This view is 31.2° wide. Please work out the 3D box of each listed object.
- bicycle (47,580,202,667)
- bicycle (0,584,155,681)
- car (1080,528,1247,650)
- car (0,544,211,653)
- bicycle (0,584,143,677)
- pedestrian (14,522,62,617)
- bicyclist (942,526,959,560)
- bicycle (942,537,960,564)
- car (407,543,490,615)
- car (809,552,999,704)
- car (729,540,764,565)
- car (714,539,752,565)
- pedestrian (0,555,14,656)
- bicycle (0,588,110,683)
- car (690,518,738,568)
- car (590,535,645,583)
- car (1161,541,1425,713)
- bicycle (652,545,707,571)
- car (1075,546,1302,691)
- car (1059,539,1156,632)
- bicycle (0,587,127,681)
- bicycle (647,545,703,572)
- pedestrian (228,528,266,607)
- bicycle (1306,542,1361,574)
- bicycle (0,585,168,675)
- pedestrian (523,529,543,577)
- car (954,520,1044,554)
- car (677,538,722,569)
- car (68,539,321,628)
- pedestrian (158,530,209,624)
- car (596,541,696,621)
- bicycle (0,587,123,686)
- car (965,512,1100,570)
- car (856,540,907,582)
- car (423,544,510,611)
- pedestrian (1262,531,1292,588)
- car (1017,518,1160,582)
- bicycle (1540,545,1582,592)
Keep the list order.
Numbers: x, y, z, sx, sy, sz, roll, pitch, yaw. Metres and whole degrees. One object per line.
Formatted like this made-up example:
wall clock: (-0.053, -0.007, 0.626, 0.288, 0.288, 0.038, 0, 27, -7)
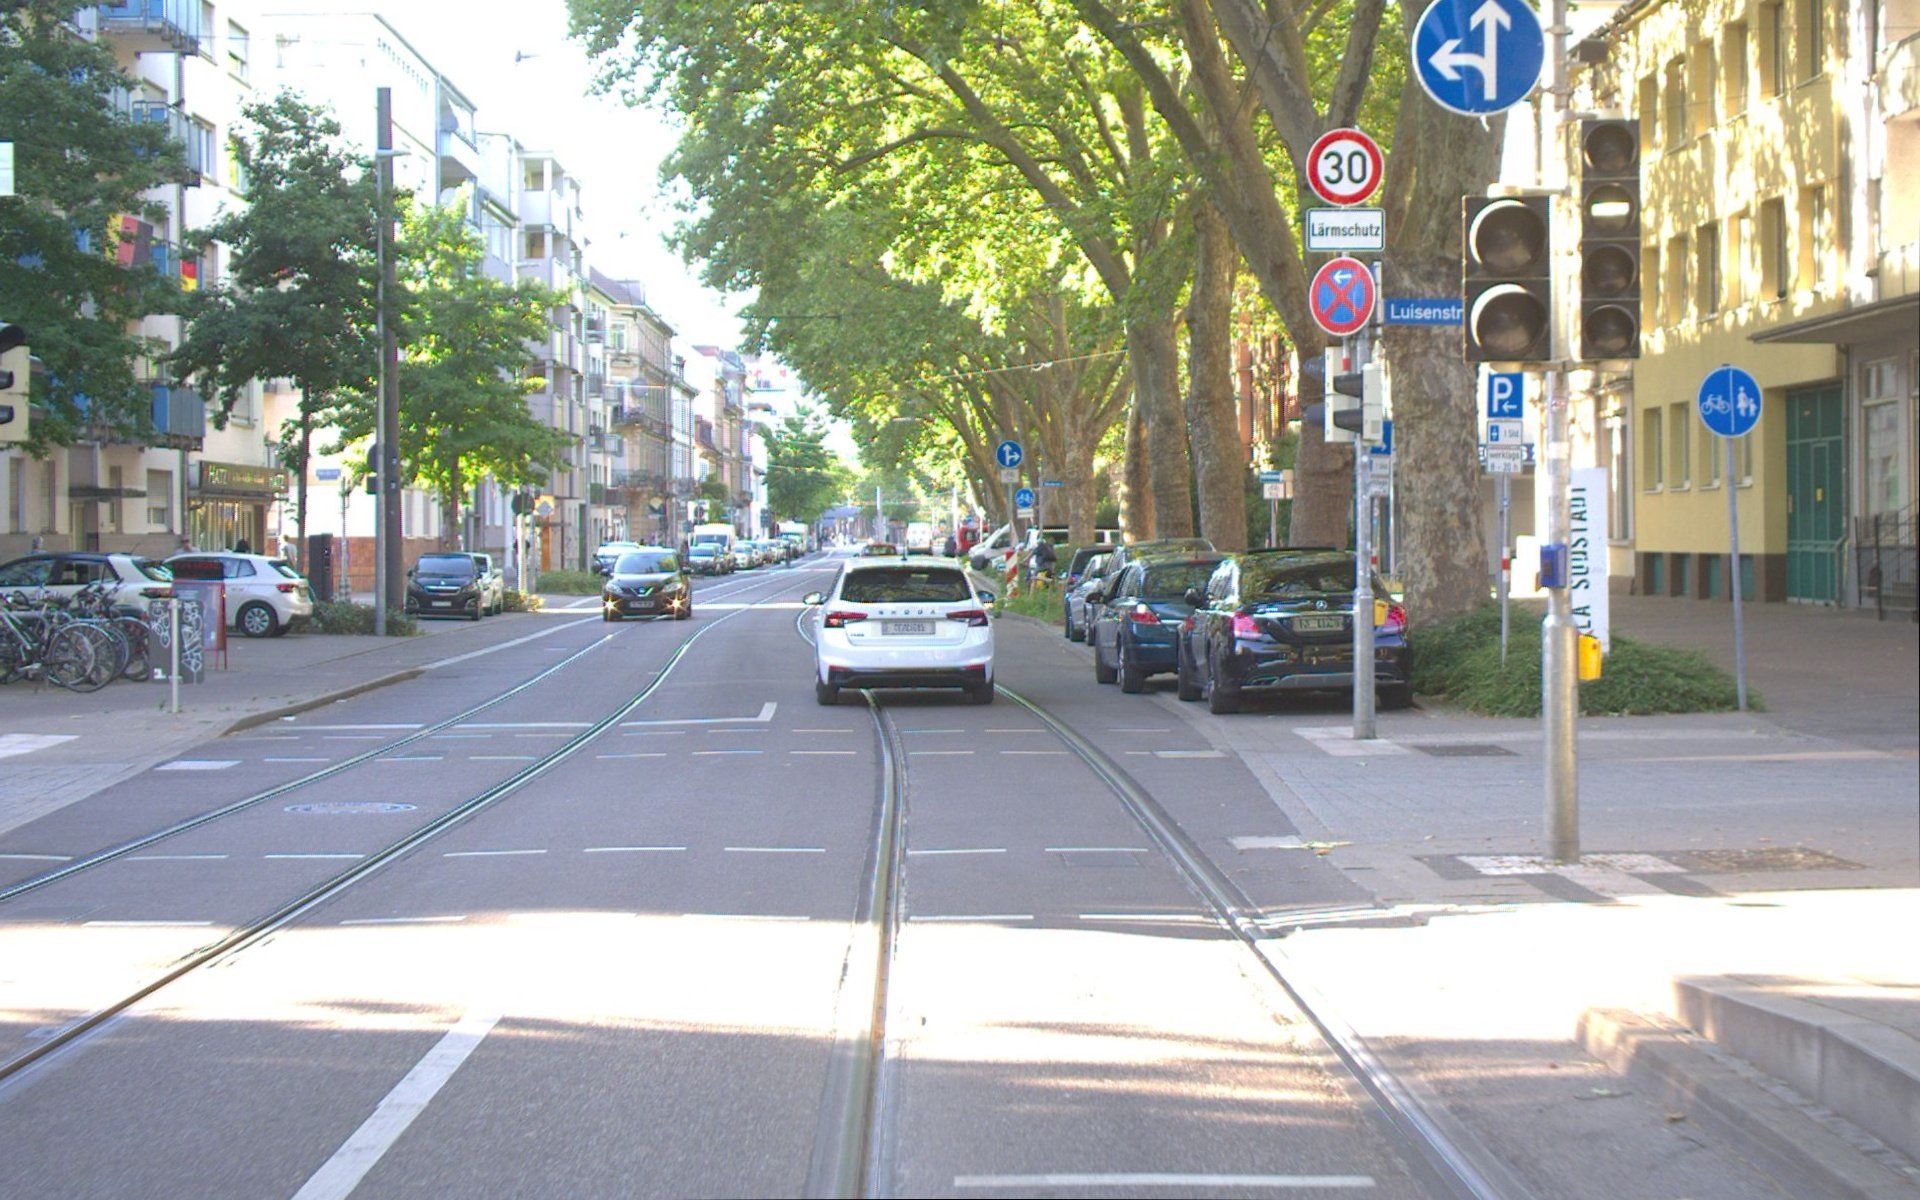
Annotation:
bicycle: (-9.876, 0.278, 40.677, 1.690, 1.003, 0.658, 1, 0, -5)
bicycle: (-9.999, 0.360, 38.511, 1.829, 1.060, 0.658, 1, 0, -5)
car: (2.840, -0.156, 48.892, 1.857, 1.598, 4.782, -2, 0, -2)
car: (-12.680, -0.036, 48.027, 4.012, 1.470, 1.852, 1, 0, 0)
bicycle: (-10.056, 0.330, 38.190, 1.829, 1.003, 0.658, 1, 0, -5)
pedestrian: (-16.383, -0.544, 61.121, 0.663, 1.685, 0.749, 0, 1, -2)
bicyclist: (-0.394, -2.311, 138.924, 0.649, 1.339, 0.934, -1, 1, -3)
bicycle: (-0.385, -1.997, 138.917, 0.649, 1.067, 1.583, -1, 1, -3)
car: (-11.298, -0.480, 76.105, 1.713, 1.459, 4.001, 3, 1, -8)
car: (-0.592, 0.231, 34.141, 1.761, 1.379, 4.001, -1, 1, -2)
car: (-13.439, -2.981, 216.249, 1.993, 1.525, 4.000, 0, 1, -1)
car: (-13.353, -2.840, 202.286, 1.993, 1.525, 4.000, 0, 1, -1)
pedestrian: (-12.683, 0.069, 44.676, 0.712, 1.293, 0.748, -1, 1, -15)
bicycle: (-10.164, 0.377, 37.102, 1.829, 1.003, 0.658, 1, 0, -5)
car: (-13.000, -3.009, 181.952, 2.178, 2.588, 4.949, 0, 1, -1)
car: (-12.459, -1.508, 125.328, 1.702, 1.645, 4.242, 2, 1, -2)
car: (3.005, 0.189, 31.970, 1.764, 1.457, 5.013, 0, 1, -2)
bicycle: (-13.288, -1.993, 162.866, 2.524, 1.168, 0.719, 2, -1, -6)
car: (2.417, 0.151, 37.328, 1.864, 1.432, 4.227, -1, 1, -4)
car: (2.501, -0.250, 58.833, 1.564, 1.514, 2.910, -2, 0, 1)
bicycle: (-10.079, 0.368, 37.544, 1.829, 1.003, 0.658, 1, 0, -5)
bicycle: (-13.198, -1.930, 159.088, 2.524, 1.168, 0.719, 2, -1, -7)
pedestrian: (-15.308, -0.697, 73.833, 0.663, 1.685, 0.749, 0, 1, -2)
bicycle: (13.127, -1.478, 120.929, 1.791, 1.038, 0.618, -2, 1, -4)
bicycle: (-10.034, 0.339, 39.327, 1.829, 1.003, 0.658, 1, 0, -5)
pedestrian: (-16.158, -1.792, 130.073, 0.663, 1.820, 0.965, 0, 1, -2)
car: (2.699, -4.385, 239.285, 6.129, 2.274, 2.529, 0, 1, -2)
car: (-12.892, -2.308, 170.236, 1.993, 1.525, 4.000, 0, 1, -1)
car: (-13.243, -0.296, 59.630, 4.012, 1.470, 1.852, 1, 0, -3)
pedestrian: (-14.003, -0.415, 62.003, 0.763, 1.685, 0.795, 0, 1, -2)
car: (-6.698, -0.435, 73.667, 1.871, 1.584, 4.147, 2, 1, -2)
bicycle: (-9.592, 0.374, 35.623, 1.690, 1.003, 0.658, 1, 0, -5)
car: (3.376, -2.745, 160.452, 6.129, 2.626, 2.529, 0, 1, -2)
car: (-2.814, -1.434, 124.186, 1.761, 1.470, 4.000, -1, 1, 0)
car: (-11.582, -0.539, 80.889, 1.713, 1.459, 4.378, 3, 1, -5)
pedestrian: (10.398, -1.323, 112.680, 0.766, 1.860, 1.189, -1, 1, -4)
car: (4.226, -1.661, 113.470, 4.543, 2.069, 2.001, 0, 1, -3)
bicycle: (14.375, -0.759, 82.246, 0.582, 1.100, 1.923, -2, 1, -1)
